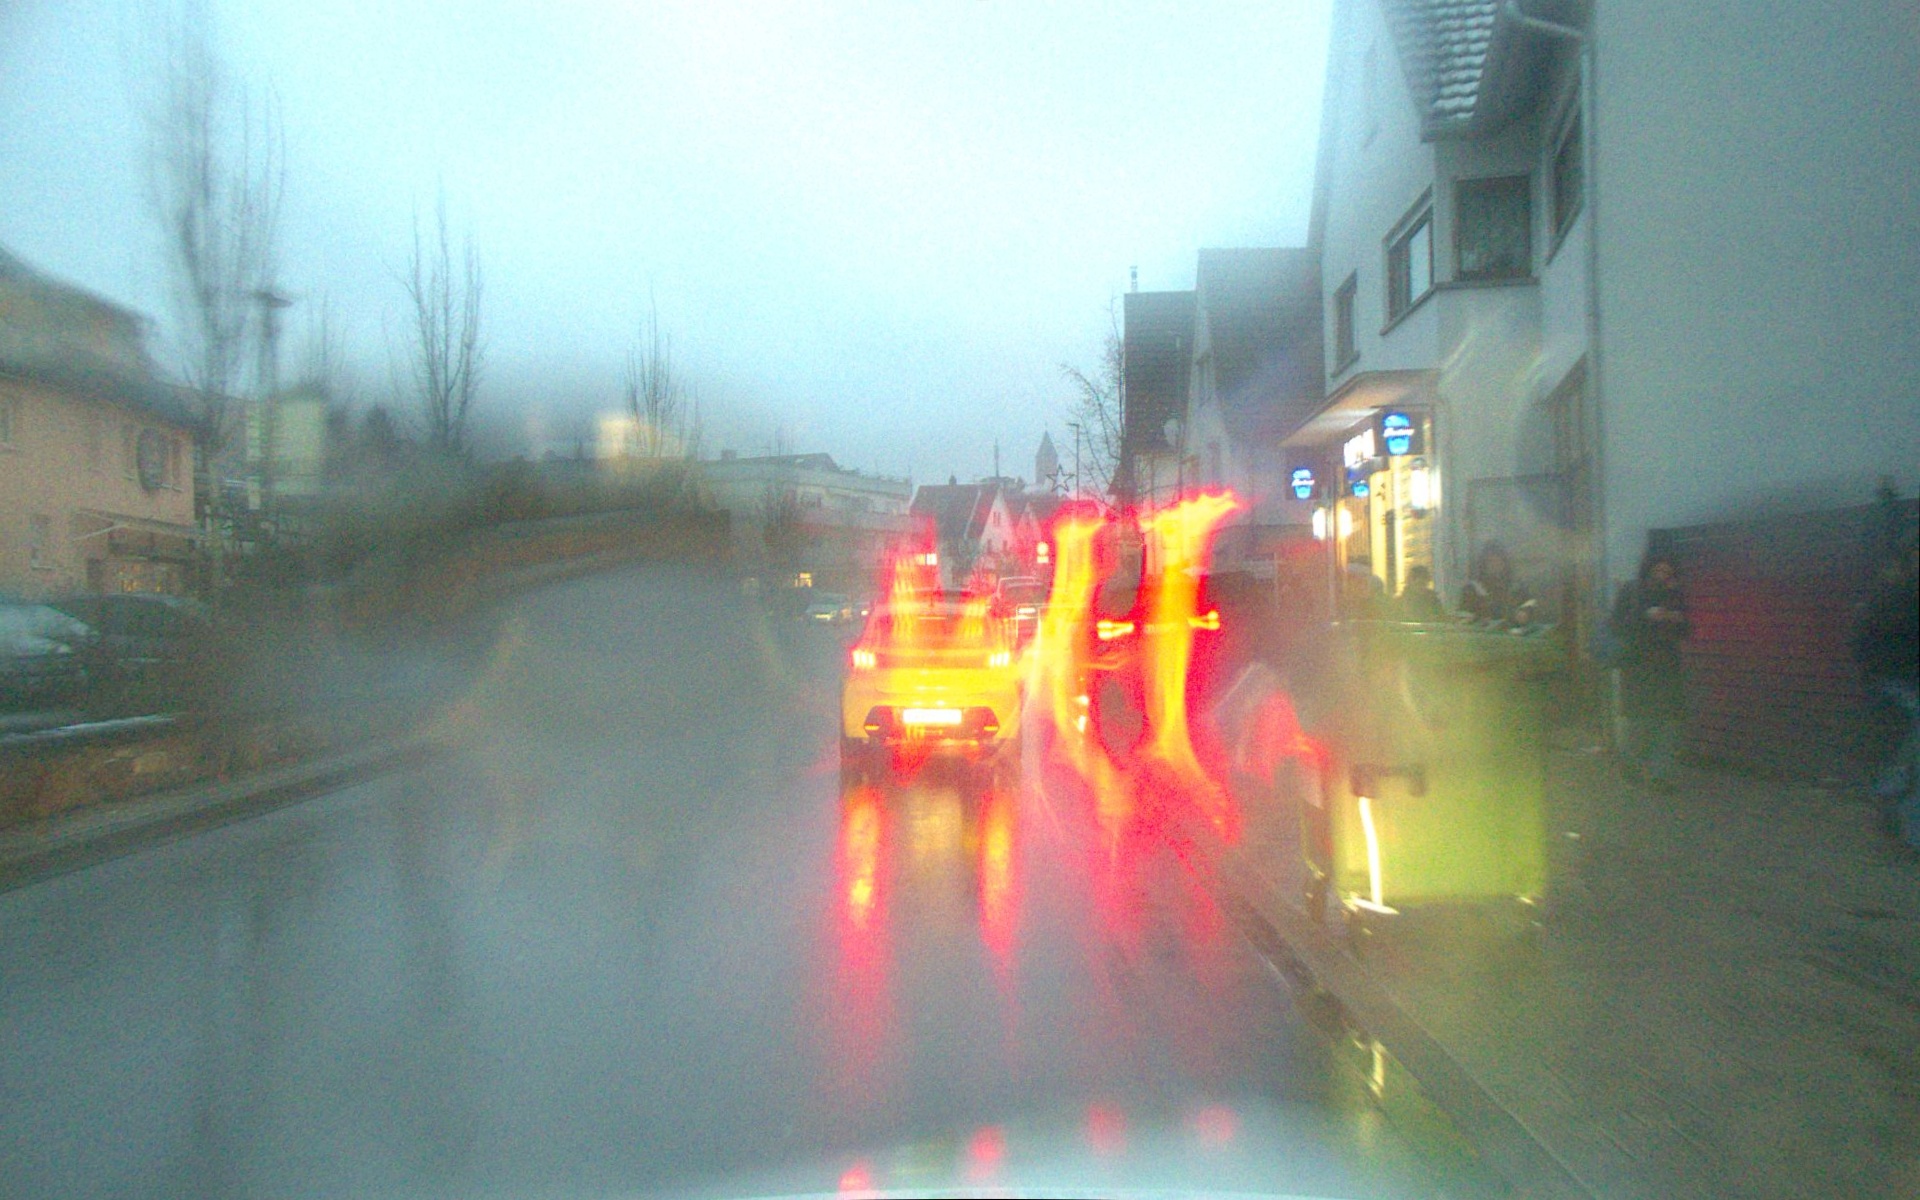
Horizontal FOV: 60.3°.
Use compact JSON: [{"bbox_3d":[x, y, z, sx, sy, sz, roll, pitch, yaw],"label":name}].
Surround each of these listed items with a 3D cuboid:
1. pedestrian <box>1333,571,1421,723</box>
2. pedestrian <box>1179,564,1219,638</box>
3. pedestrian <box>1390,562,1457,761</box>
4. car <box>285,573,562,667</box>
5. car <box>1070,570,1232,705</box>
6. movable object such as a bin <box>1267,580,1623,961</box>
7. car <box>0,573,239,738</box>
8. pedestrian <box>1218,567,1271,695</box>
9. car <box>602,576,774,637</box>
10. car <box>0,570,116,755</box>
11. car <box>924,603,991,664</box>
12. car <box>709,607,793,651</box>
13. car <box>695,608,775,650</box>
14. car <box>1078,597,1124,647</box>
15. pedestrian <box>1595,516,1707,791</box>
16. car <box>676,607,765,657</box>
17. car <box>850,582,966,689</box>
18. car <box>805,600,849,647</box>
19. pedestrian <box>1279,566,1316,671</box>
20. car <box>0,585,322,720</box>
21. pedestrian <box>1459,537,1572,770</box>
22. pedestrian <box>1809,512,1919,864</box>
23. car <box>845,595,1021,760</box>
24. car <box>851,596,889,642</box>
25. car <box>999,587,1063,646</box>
[{"bbox_3d":[4.657,0.502,18.510,0.607,1.655,0.903,0,1,-14],"label":"pedestrian"},{"bbox_3d":[5.027,0.005,34.777,0.607,1.542,0.731,0,1,-14],"label":"pedestrian"},{"bbox_3d":[4.015,0.511,14.370,0.469,1.659,1.019,-2,0,13],"label":"pedestrian"},{"bbox_3d":[-9.960,0.373,31.001,4.533,1.697,1.999,0,-1,-3],"label":"car"},{"bbox_3d":[2.614,0.493,23.586,1.700,1.722,4.385,-1,0,-1],"label":"car"},{"bbox_3d":[2.059,0.671,7.281,1.106,1.445,1.418,-4,1,1],"label":"movable object such as a bin"},{"bbox_3d":[-9.891,0.555,17.281,4.008,1.636,1.588,0,-1,3],"label":"car"},{"bbox_3d":[3.932,0.423,22.901,0.561,1.729,0.653,-2,-1,1],"label":"pedestrian"},{"bbox_3d":[-8.925,0.214,54.399,5.281,1.849,1.713,2,0,13],"label":"car"},{"bbox_3d":[-9.789,0.525,14.711,3.713,1.549,1.716,0,-1,6],"label":"car"},{"bbox_3d":[-0.069,0.757,39.430,1.509,1.355,3.311,1,0,-1],"label":"car"},{"bbox_3d":[-10.738,1.503,84.894,4.310,2.204,1.986,-1,-3,44],"label":"car"},{"bbox_3d":[-11.208,1.448,82.320,4.097,2.011,1.810,-1,-3,44],"label":"car"},{"bbox_3d":[6.809,1.117,80.450,1.952,2.288,4.000,1,-2,1],"label":"car"},{"bbox_3d":[4.774,0.350,11.470,0.517,1.832,0.865,0,0,9],"label":"pedestrian"},{"bbox_3d":[-11.438,1.546,78.901,4.310,2.291,1.986,-1,-3,44],"label":"car"},{"bbox_3d":[-0.816,0.563,27.877,1.730,1.657,3.586,1,0,1],"label":"car"},{"bbox_3d":[-6.272,1.132,78.259,1.881,2.063,3.972,1,-2,-2],"label":"car"},{"bbox_3d":[5.755,0.320,28.230,0.605,1.757,0.502,0,-3,11],"label":"pedestrian"},{"bbox_3d":[-10.261,0.643,20.318,4.042,1.524,1.879,1,-2,2],"label":"car"},{"bbox_3d":[4.333,0.401,12.970,0.697,1.745,1.035,-2,0,13],"label":"pedestrian"},{"bbox_3d":[4.993,0.410,8.511,0.731,1.708,1.053,-2,0,5],"label":"pedestrian"},{"bbox_3d":[-0.253,0.683,16.122,1.531,1.437,3.017,1,0,-1],"label":"car"},{"bbox_3d":[-4.672,1.017,86.266,1.881,2.254,3.972,1,-2,-2],"label":"car"},{"bbox_3d":[2.349,0.570,55.548,1.957,1.897,4.082,0,-1,0],"label":"car"}]
